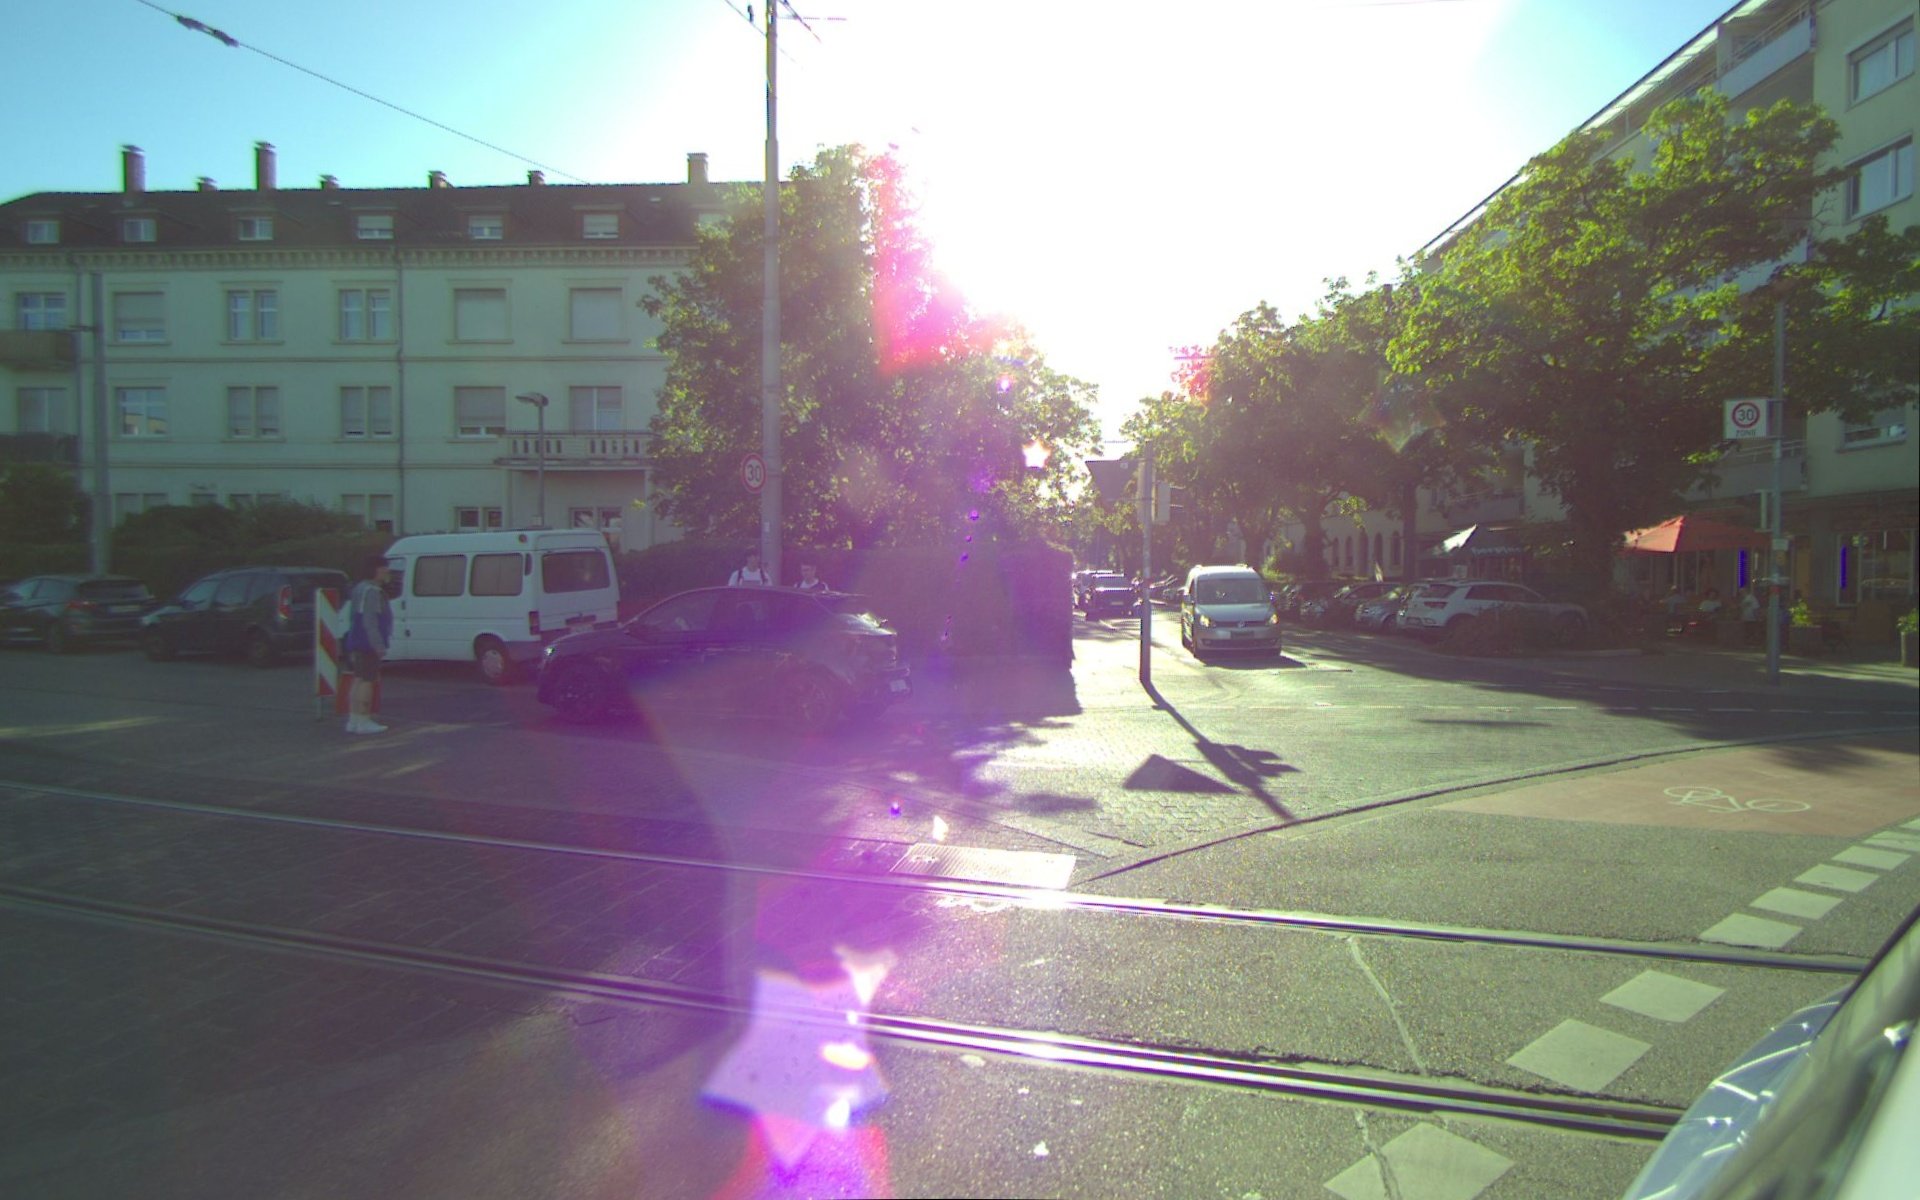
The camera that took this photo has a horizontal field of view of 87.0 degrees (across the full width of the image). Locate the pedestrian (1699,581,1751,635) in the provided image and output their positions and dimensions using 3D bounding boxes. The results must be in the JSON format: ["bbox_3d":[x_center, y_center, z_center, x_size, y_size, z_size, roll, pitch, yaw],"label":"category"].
[{"bbox_3d":[18.117,0.178,23.990,0.648,1.233,0.740,1,1,2],"label":"pedestrian"}]

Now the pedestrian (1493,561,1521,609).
[{"bbox_3d":[20.210,-0.560,37.398,0.710,1.730,0.538,1,1,7],"label":"pedestrian"}]

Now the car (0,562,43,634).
[{"bbox_3d":[-21.882,-0.082,21.616,3.890,1.495,1.795,1,2,19],"label":"car"}]

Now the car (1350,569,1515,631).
[{"bbox_3d":[13.302,-0.021,28.653,3.797,1.638,1.717,1,1,0],"label":"car"}]

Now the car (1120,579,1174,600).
[{"bbox_3d":[14.311,-0.791,77.672,3.797,1.498,1.717,1,1,0],"label":"car"}]

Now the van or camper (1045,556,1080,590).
[{"bbox_3d":[7.566,-2.008,75.080,2.328,2.366,5.012,1,2,3],"label":"van or camper"}]

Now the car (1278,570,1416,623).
[{"bbox_3d":[12.594,-0.141,33.107,3.797,1.638,1.717,1,1,0],"label":"car"}]

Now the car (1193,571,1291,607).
[{"bbox_3d":[12.520,-0.501,45.078,3.797,1.498,1.717,1,1,0],"label":"car"}]

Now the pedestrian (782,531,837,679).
[{"bbox_3d":[-1.902,0.051,12.856,0.605,1.814,0.701,1,1,-3],"label":"pedestrian"}]

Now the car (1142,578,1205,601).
[{"bbox_3d":[14.226,-0.708,67.662,3.797,1.498,1.717,1,1,0],"label":"car"}]

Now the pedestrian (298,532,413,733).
[{"bbox_3d":[-5.377,0.266,9.044,0.686,1.714,0.729,1,1,-12],"label":"pedestrian"}]

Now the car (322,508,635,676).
[{"bbox_3d":[-7.441,-0.124,15.689,4.255,2.306,2.081,0,0,22],"label":"car"}]

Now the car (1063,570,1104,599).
[{"bbox_3d":[7.014,-0.906,57.839,1.963,1.549,3.998,1,2,3],"label":"car"}]

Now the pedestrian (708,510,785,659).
[{"bbox_3d":[-2.782,-0.208,13.207,0.697,1.869,0.695,2,2,37],"label":"pedestrian"}]

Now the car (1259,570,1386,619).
[{"bbox_3d":[12.664,-0.221,35.496,3.797,1.638,1.717,1,1,0],"label":"car"}]

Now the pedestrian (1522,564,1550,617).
[{"bbox_3d":[20.283,-0.337,35.644,0.662,1.834,0.538,1,1,7],"label":"pedestrian"}]

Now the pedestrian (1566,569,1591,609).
[{"bbox_3d":[21.883,-0.396,35.815,0.563,1.377,0.671,1,1,14],"label":"pedestrian"}]

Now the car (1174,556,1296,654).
[{"bbox_3d":[5.759,0.036,21.688,1.775,1.836,4.185,-2,2,6],"label":"car"}]

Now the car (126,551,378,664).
[{"bbox_3d":[-12.402,0.058,17.766,3.843,1.785,1.795,1,2,21],"label":"car"}]

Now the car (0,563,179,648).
[{"bbox_3d":[-17.490,0.055,19.739,3.890,1.495,1.795,1,2,19],"label":"car"}]

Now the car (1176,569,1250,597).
[{"bbox_3d":[14.430,-0.997,57.867,3.797,1.498,1.717,1,1,0],"label":"car"}]

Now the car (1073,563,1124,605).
[{"bbox_3d":[6.415,-0.768,47.168,1.963,1.838,4.325,1,2,3],"label":"car"}]

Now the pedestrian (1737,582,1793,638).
[{"bbox_3d":[18.133,0.213,22.816,0.648,1.233,0.740,1,1,2],"label":"pedestrian"}]

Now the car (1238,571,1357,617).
[{"bbox_3d":[12.573,-0.252,37.853,3.797,1.638,1.717,1,1,0],"label":"car"}]

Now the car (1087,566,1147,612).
[{"bbox_3d":[6.330,-0.494,41.180,1.963,1.749,3.998,1,2,3],"label":"car"}]

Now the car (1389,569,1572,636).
[{"bbox_3d":[13.486,0.043,26.385,3.830,1.638,1.717,1,1,0],"label":"car"}]

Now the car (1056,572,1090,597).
[{"bbox_3d":[7.333,-1.018,66.122,1.963,1.549,3.998,1,2,3],"label":"car"}]

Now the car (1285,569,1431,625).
[{"bbox_3d":[12.257,-0.122,31.336,3.797,1.638,1.717,1,1,0],"label":"car"}]

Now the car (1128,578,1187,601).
[{"bbox_3d":[14.010,-0.747,71.971,3.797,1.498,1.717,1,1,0],"label":"car"}]

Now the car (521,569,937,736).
[{"bbox_3d":[-2.351,0.438,10.596,3.884,1.459,1.798,1,2,16],"label":"car"}]

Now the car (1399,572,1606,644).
[{"bbox_3d":[12.780,0.159,24.002,3.958,1.601,1.711,1,1,0],"label":"car"}]
